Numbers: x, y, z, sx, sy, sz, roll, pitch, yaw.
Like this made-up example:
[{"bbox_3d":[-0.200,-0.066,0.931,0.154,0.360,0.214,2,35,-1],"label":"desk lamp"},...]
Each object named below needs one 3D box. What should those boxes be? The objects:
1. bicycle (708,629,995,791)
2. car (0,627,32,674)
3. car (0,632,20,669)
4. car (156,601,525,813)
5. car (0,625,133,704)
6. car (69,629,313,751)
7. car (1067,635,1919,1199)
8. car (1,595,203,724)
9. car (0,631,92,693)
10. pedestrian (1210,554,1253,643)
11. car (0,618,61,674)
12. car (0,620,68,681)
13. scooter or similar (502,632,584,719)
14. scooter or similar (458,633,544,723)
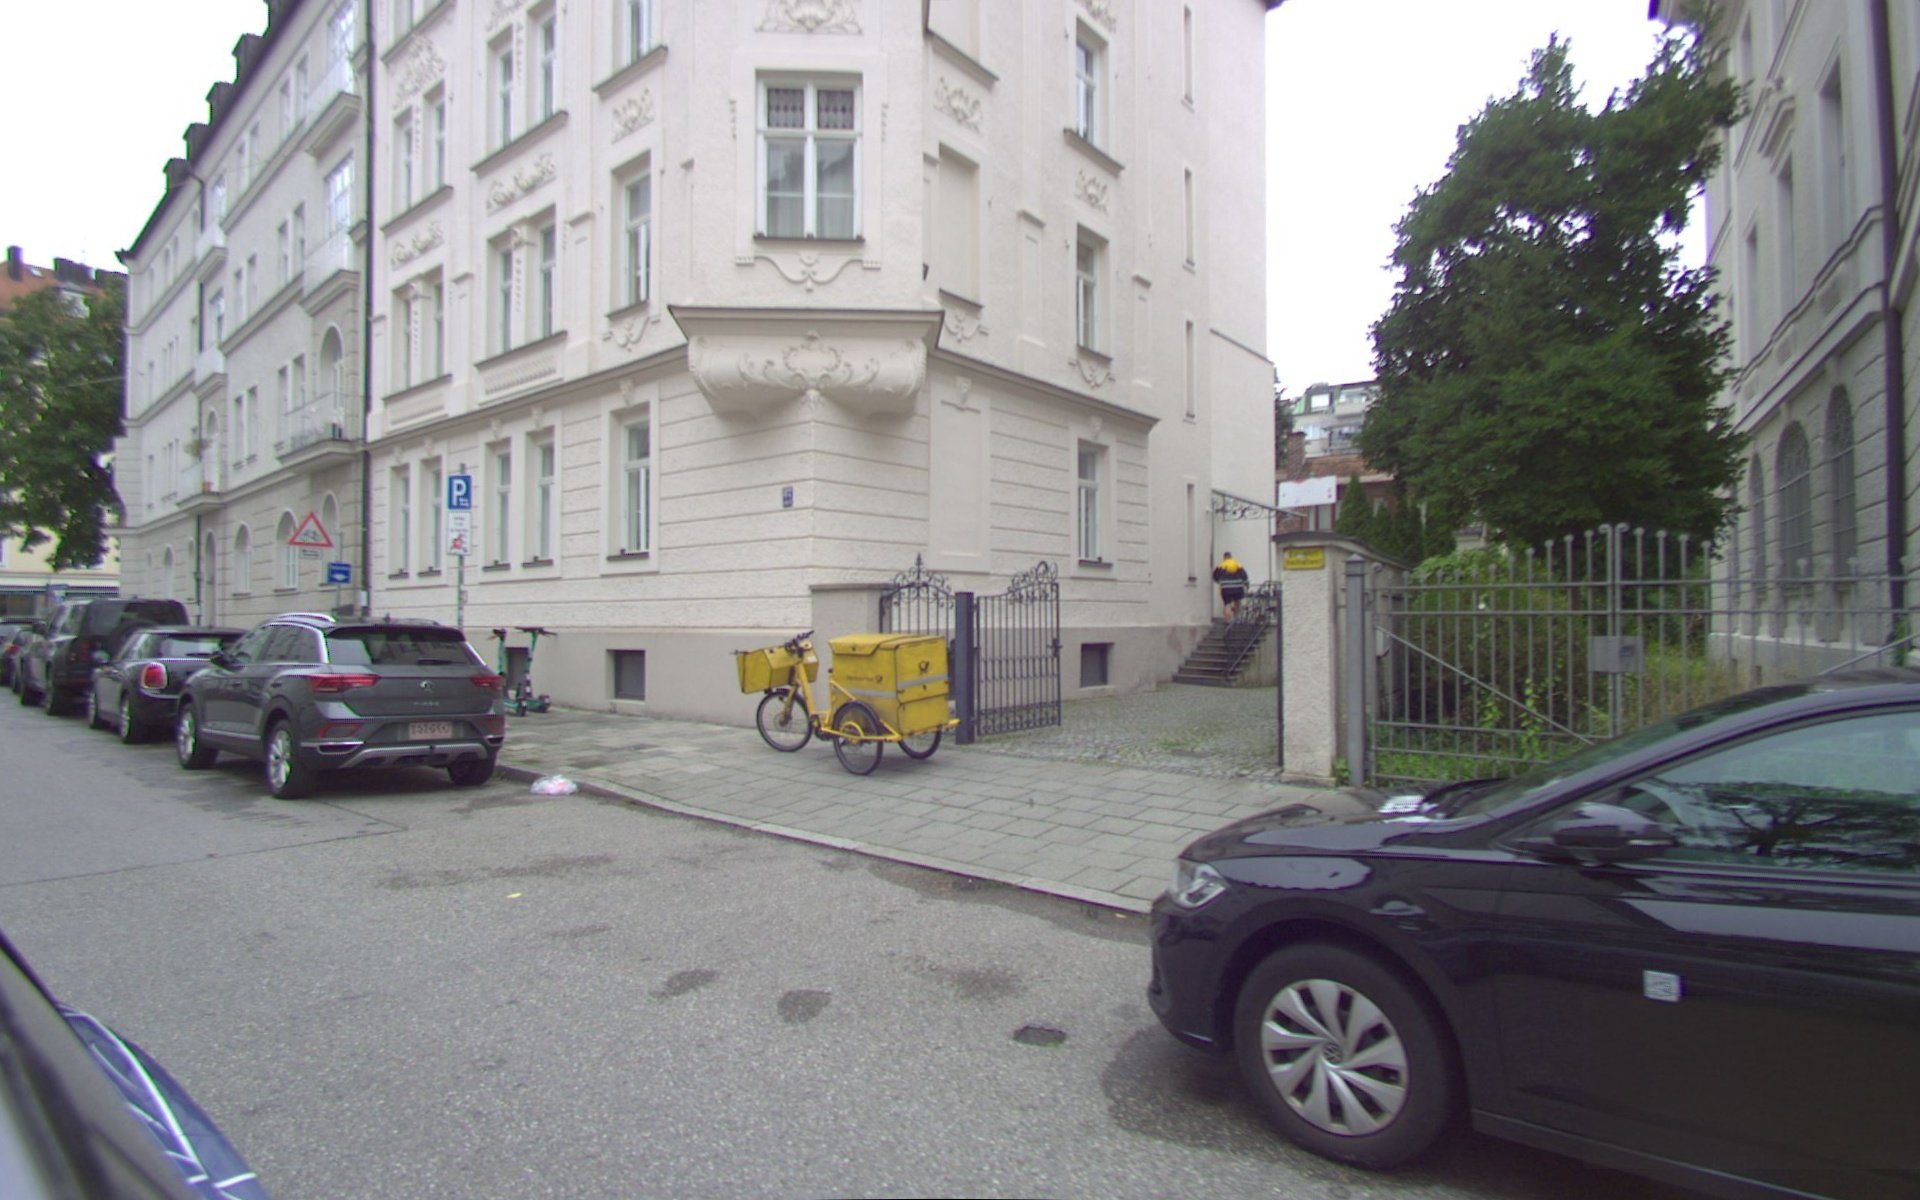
[{"bbox_3d":[-1.102,0.942,9.680,2.715,1.251,1.140,-1,2,41],"label":"bicycle"},{"bbox_3d":[-34.614,1.767,36.019,3.945,1.580,1.678,-1,-1,38],"label":"car"},{"bbox_3d":[-37.917,1.937,39.190,4.475,1.404,1.664,-2,-3,40],"label":"car"},{"bbox_3d":[-6.092,0.895,9.781,4.116,1.631,1.709,-1,-4,39],"label":"car"},{"bbox_3d":[-18.938,1.320,21.405,3.529,1.525,1.599,-2,-3,40],"label":"car"},{"bbox_3d":[-10.577,1.132,13.806,4.243,1.405,1.817,-2,-4,42],"label":"car"},{"bbox_3d":[2.557,0.841,2.649,4.275,1.426,1.774,-1,-4,40],"label":"car"},{"bbox_3d":[-14.730,0.980,17.275,4.759,1.909,1.817,-2,-4,40],"label":"car"},{"bbox_3d":[-22.818,1.479,25.000,4.092,1.418,1.636,-2,-3,43],"label":"car"},{"bbox_3d":[5.986,-0.022,22.294,0.816,1.922,0.835,-1,-2,22],"label":"pedestrian"},{"bbox_3d":[-30.414,1.467,32.460,4.210,1.690,1.817,-2,-2,40],"label":"car"},{"bbox_3d":[-26.885,1.408,28.806,4.434,1.611,1.855,-2,-2,43],"label":"car"},{"bbox_3d":[-6.198,1.090,15.020,1.547,1.231,0.488,-1,-2,41],"label":"scooter or similar"},{"bbox_3d":[-6.599,1.090,14.522,1.547,1.209,0.526,-1,-2,41],"label":"scooter or similar"}]
